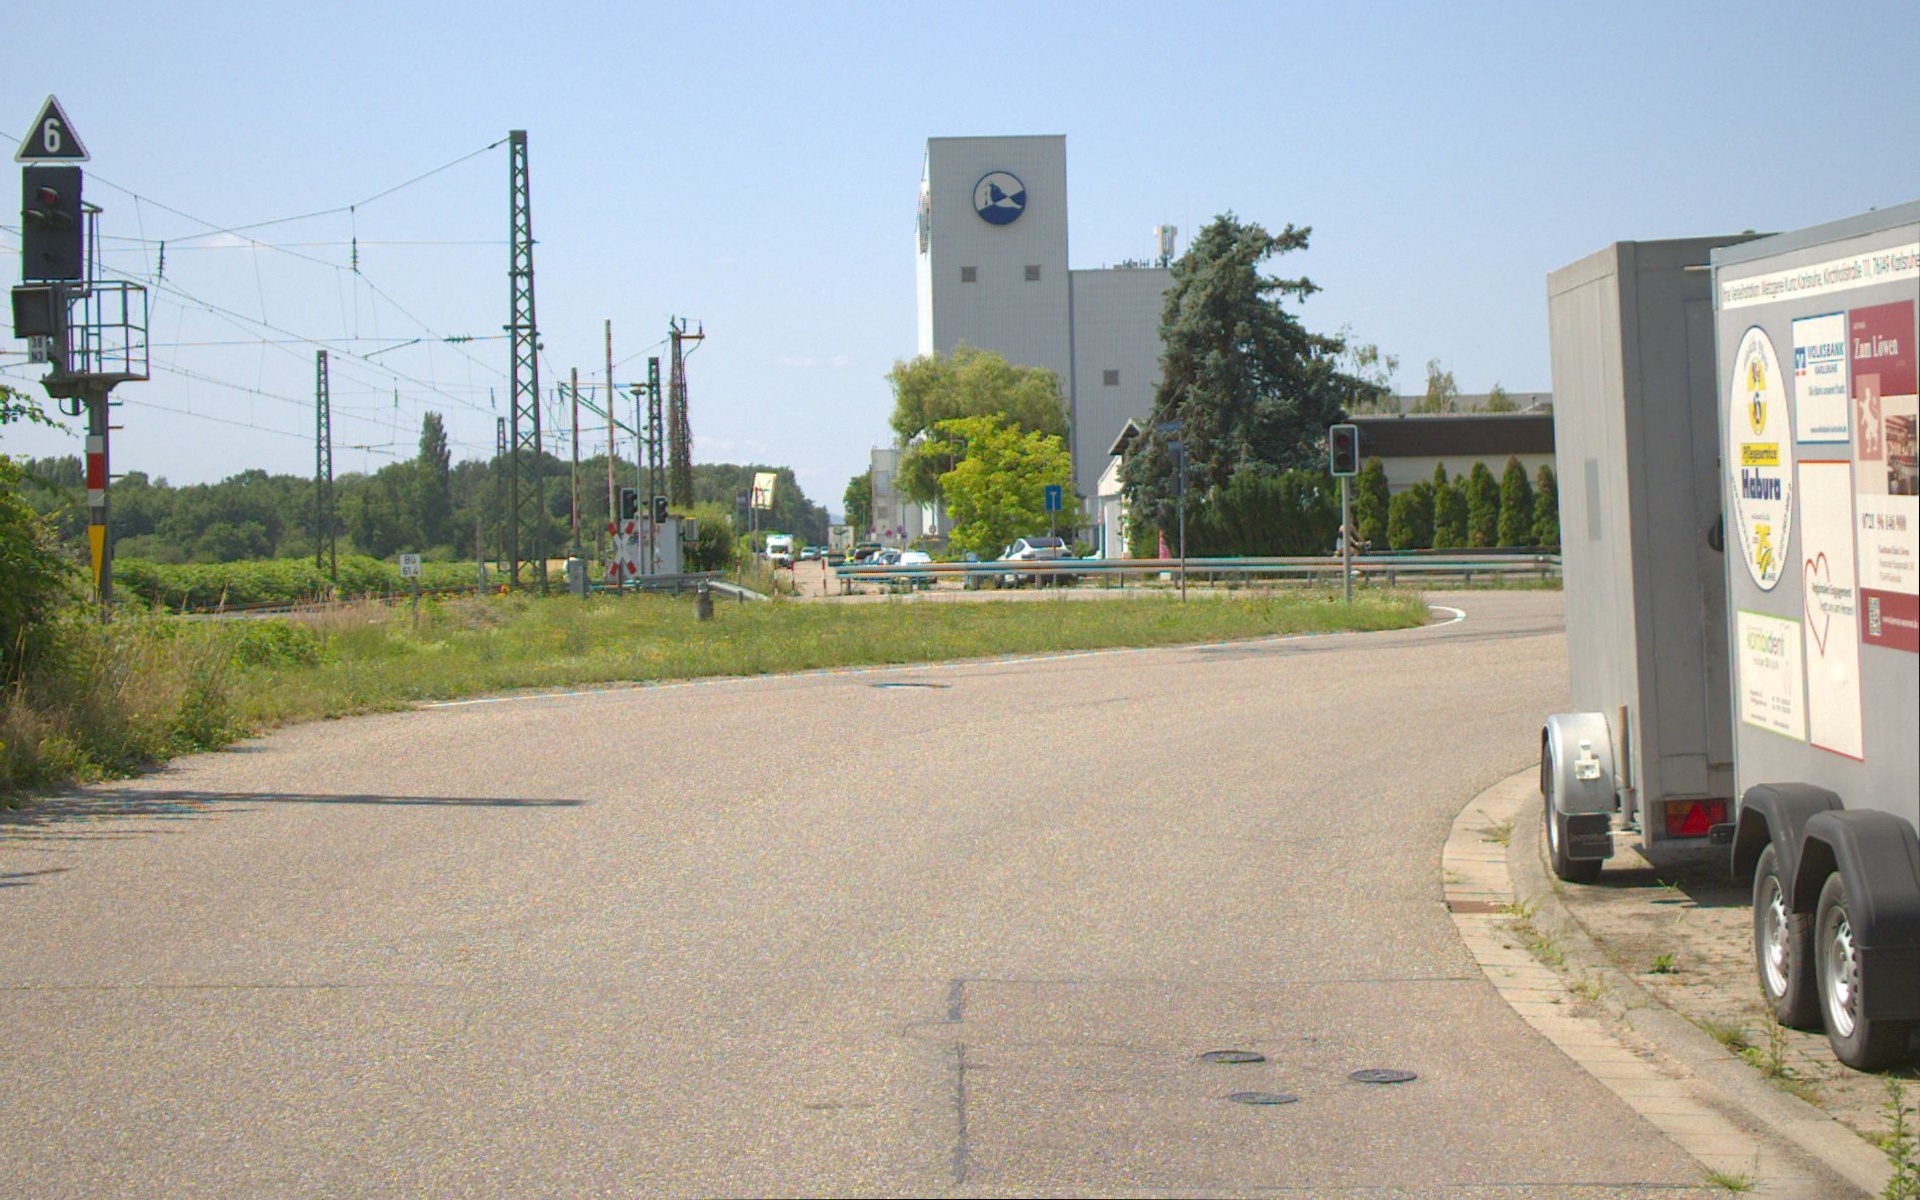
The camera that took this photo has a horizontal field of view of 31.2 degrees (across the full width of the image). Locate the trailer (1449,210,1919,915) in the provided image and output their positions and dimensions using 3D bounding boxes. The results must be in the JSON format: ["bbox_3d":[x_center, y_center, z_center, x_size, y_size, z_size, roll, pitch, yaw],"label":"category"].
[{"bbox_3d":[3.461,-0.219,15.833,1.933,2.635,5.183,-4,1,5],"label":"trailer"}]

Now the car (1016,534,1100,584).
[{"bbox_3d":[3.082,-1.316,108.569,1.993,1.504,4.455,-1,1,-7],"label":"car"}]

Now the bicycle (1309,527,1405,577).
[{"bbox_3d":[9.389,-1.140,81.402,2.142,1.161,0.660,0,2,24],"label":"bicycle"}]

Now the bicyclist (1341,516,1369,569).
[{"bbox_3d":[9.357,-1.368,81.393,0.510,1.251,0.469,0,1,25],"label":"bicyclist"}]

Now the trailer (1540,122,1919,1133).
[{"bbox_3d":[3.264,-0.013,10.693,1.919,2.499,4.741,-4,1,-1],"label":"trailer"}]
